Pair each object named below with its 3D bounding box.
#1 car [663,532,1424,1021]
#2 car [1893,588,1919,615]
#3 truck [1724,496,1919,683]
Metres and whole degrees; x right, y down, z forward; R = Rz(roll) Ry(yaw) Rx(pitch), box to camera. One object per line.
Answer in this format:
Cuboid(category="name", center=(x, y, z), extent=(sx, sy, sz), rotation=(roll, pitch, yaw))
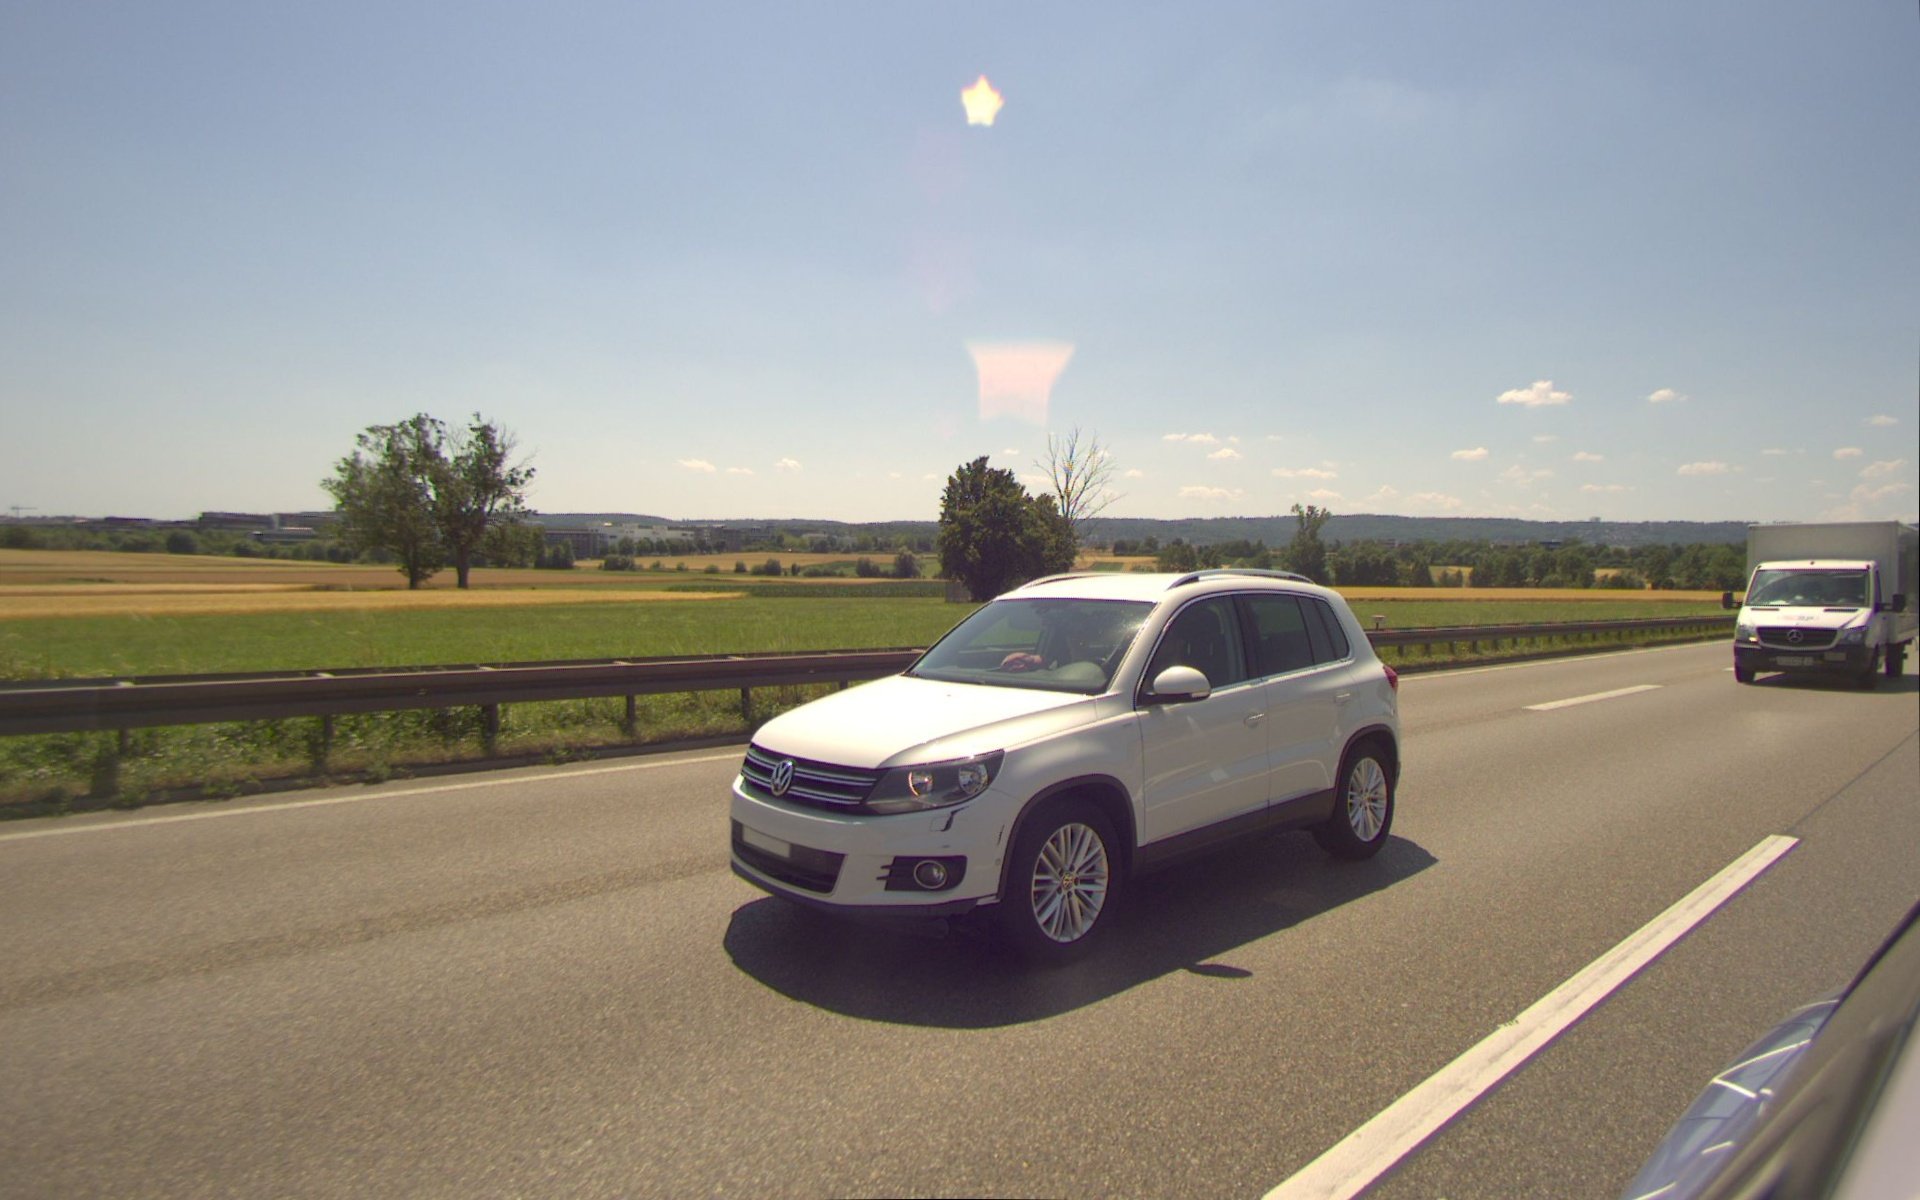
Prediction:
Cuboid(category="car", center=(0.711, 0.600, 5.516), extent=(4.100, 1.666, 1.835), rotation=(0, 0, -42))
Cuboid(category="car", center=(66.656, 0.087, 70.688), extent=(3.933, 1.811, 1.908), rotation=(0, 1, -44))
Cuboid(category="truck", center=(17.170, -0.186, 19.799), extent=(6.800, 3.066, 2.441), rotation=(0, 0, -43))
